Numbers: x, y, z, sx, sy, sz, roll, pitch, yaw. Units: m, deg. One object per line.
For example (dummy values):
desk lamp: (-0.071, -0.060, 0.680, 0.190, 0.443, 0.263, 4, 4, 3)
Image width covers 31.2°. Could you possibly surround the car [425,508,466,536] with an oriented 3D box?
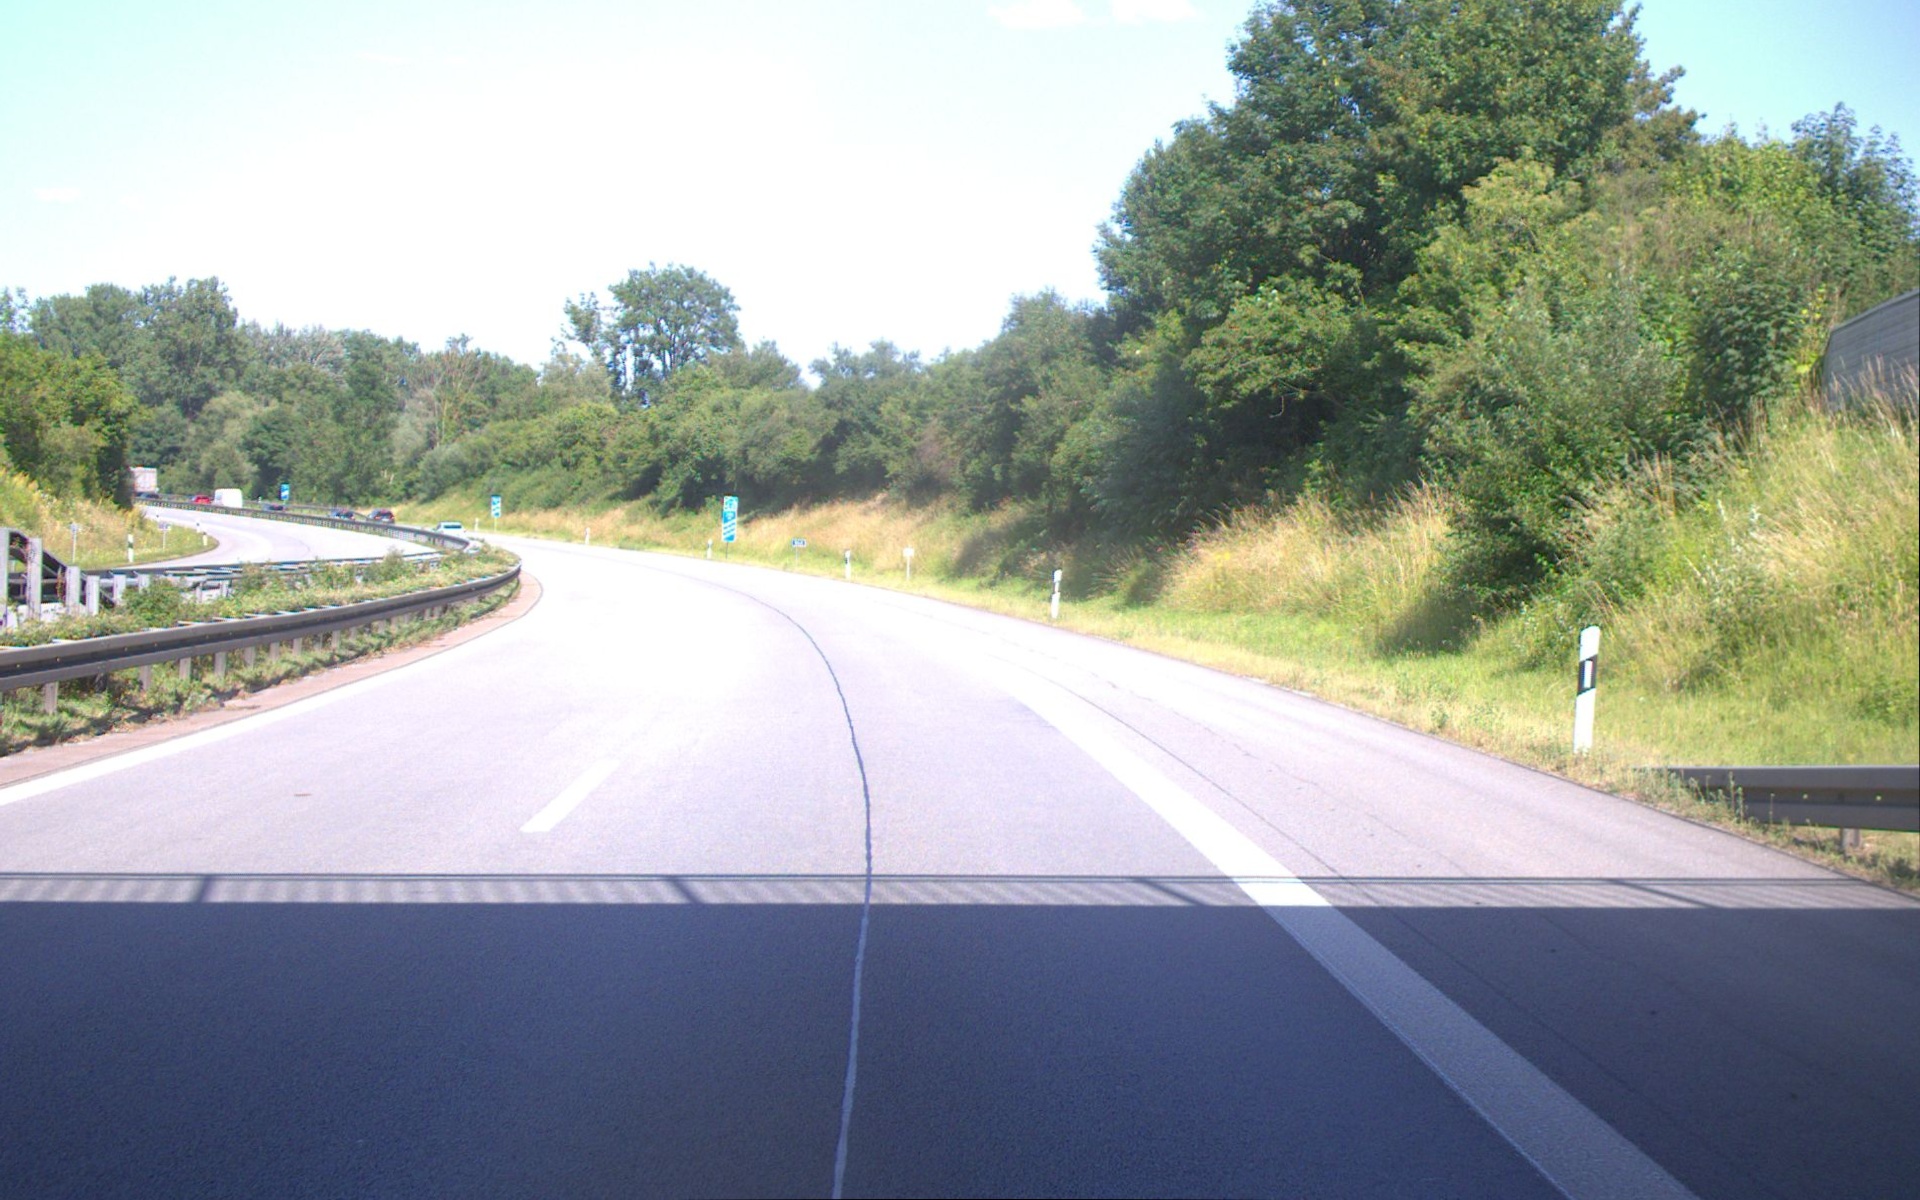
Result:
car: (-31.998, -4.849, 213.688, 2.061, 1.619, 4.001, 1, 0, -15)
